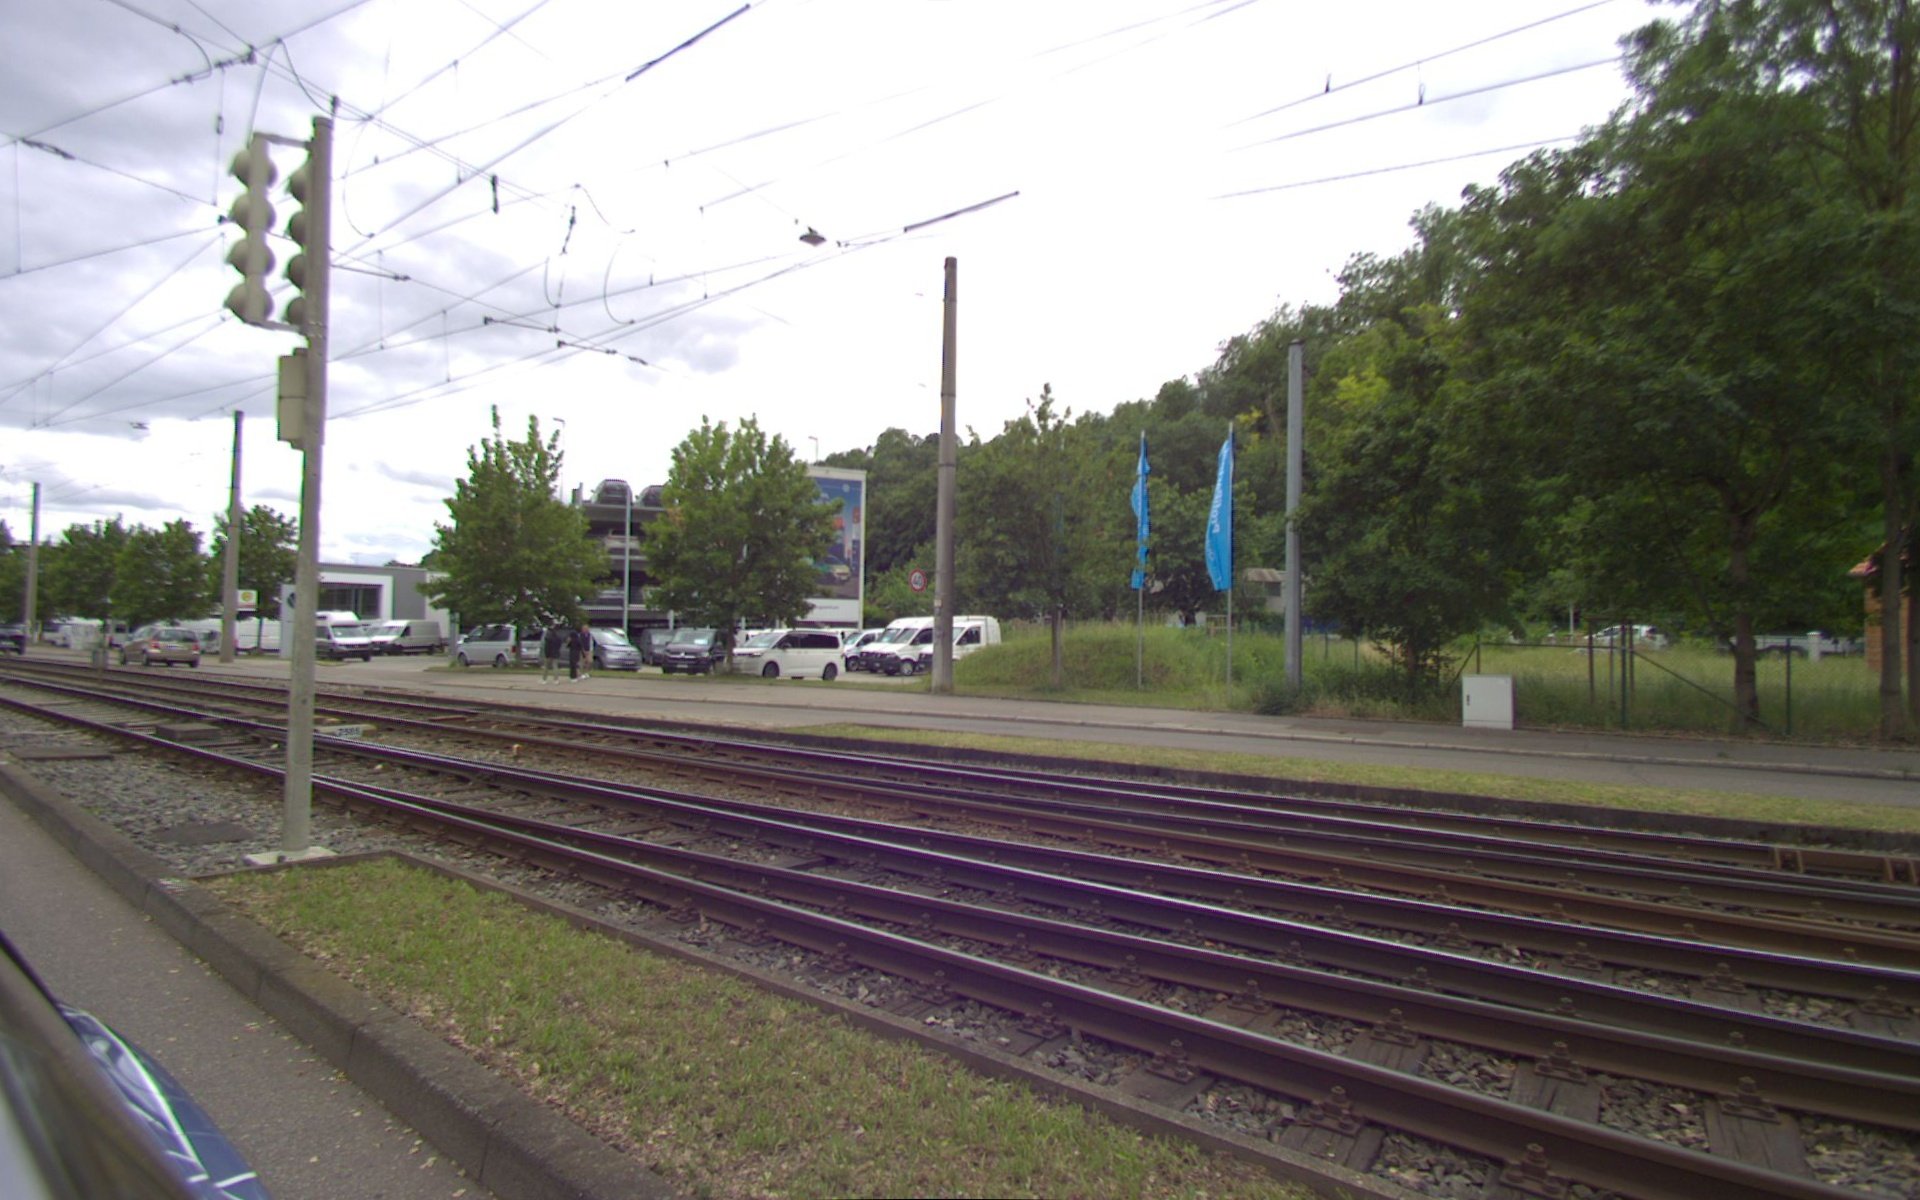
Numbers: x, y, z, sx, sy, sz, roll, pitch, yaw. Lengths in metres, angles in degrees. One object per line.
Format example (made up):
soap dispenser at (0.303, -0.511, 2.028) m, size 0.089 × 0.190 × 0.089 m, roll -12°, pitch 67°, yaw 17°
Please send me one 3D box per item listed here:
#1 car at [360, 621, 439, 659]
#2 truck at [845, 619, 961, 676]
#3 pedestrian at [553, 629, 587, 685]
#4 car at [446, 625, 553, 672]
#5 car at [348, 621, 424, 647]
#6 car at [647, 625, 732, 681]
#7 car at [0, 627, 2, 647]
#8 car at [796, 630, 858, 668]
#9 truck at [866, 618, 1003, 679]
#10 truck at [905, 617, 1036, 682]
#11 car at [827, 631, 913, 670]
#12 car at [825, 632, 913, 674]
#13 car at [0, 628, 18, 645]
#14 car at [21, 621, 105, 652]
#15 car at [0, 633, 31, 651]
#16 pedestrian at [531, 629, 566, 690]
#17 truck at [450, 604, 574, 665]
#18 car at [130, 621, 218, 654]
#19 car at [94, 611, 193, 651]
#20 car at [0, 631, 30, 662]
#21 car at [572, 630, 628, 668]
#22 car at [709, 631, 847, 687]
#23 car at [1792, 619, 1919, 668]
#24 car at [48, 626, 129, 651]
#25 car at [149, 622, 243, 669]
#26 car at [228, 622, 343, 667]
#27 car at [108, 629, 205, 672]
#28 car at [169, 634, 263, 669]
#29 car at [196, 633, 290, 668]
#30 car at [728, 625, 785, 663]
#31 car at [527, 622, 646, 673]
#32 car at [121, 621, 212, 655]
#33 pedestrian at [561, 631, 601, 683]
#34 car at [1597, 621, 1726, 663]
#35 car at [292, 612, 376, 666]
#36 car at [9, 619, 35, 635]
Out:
car at (-40.129, 2.889, 72.647) m, size 1.979 × 2.622 × 5.943 m, roll 0°, pitch -2°, yaw 5°
truck at (-2.722, 2.291, 48.487) m, size 4.985 × 2.608 × 2.476 m, roll 2°, pitch -3°, yaw -31°
pedestrian at (-12.291, 1.798, 31.900) m, size 0.854 × 1.726 × 0.622 m, roll -2°, pitch -1°, yaw 37°
car at (-20.707, 2.144, 45.449) m, size 4.904 × 2.029 × 1.978 m, roll -1°, pitch -3°, yaw 33°
car at (-45.240, 2.695, 79.916) m, size 1.996 × 2.029 × 4.799 m, roll -1°, pitch -3°, yaw 36°
car at (-10.516, 2.043, 39.737) m, size 2.135 × 2.029 × 5.075 m, roll 1°, pitch -2°, yaw -2°
car at (-98.473, 3.582, 99.770) m, size 5.622 × 2.023 × 2.148 m, roll 3°, pitch -3°, yaw -38°
car at (-7.393, 2.708, 56.706) m, size 1.981 × 2.029 × 4.257 m, roll -2°, pitch -2°, yaw 15°
truck at (-1.115, 2.197, 45.591) m, size 5.679 × 2.608 × 2.476 m, roll 2°, pitch -3°, yaw -29°
truck at (0.449, 2.104, 42.913) m, size 4.984 × 2.608 × 2.476 m, roll 2°, pitch -3°, yaw -24°
car at (-4.787, 2.697, 54.063) m, size 4.198 × 2.029 × 1.985 m, roll 2°, pitch -3°, yaw -39°
car at (-4.538, 2.623, 50.613) m, size 3.936 × 2.029 × 2.004 m, roll 1°, pitch -3°, yaw -39°
car at (-89.729, 3.360, 93.105) m, size 2.058 × 1.630 × 4.141 m, roll -1°, pitch -3°, yaw 36°
car at (-69.243, 2.803, 78.198) m, size 2.120 × 2.329 × 4.457 m, roll -1°, pitch -3°, yaw 35°
car at (-84.480, 3.684, 88.889) m, size 1.996 × 1.630 × 3.951 m, roll -1°, pitch -3°, yaw 36°
pedestrian at (-12.712, 1.828, 31.272) m, size 0.854 × 1.827 × 0.670 m, roll -2°, pitch -1°, yaw 37°
truck at (-23.679, 1.854, 53.555) m, size 5.835 × 3.108 × 2.126 m, roll 2°, pitch -3°, yaw -26°
car at (-54.541, 2.592, 70.290) m, size 1.996 × 2.189 × 4.334 m, roll -1°, pitch -3°, yaw 30°
car at (-57.201, 2.193, 70.989) m, size 2.107 × 2.719 × 4.930 m, roll -1°, pitch -3°, yaw 30°
car at (-50.465, 2.424, 52.972) m, size 4.245 × 1.544 × 1.672 m, roll -1°, pitch -6°, yaw 35°
car at (-18.582, 2.505, 52.136) m, size 1.965 × 1.845 × 4.481 m, roll 2°, pitch -3°, yaw -29°
car at (-6.620, 2.120, 37.361) m, size 2.160 × 1.902 × 5.014 m, roll -1°, pitch -3°, yaw 34°
car at (33.090, 1.551, 36.728) m, size 1.965 × 1.674 × 4.012 m, roll 1°, pitch -2°, yaw -20°
car at (-66.837, 2.972, 77.685) m, size 1.999 × 1.859 × 4.327 m, roll -1°, pitch -3°, yaw 35°
car at (-48.847, 2.904, 64.814) m, size 1.996 × 2.841 × 4.334 m, roll -1°, pitch -3°, yaw 30°
car at (-41.367, 2.703, 62.209) m, size 2.241 × 2.622 × 5.427 m, roll -1°, pitch -3°, yaw 34°
car at (-31.804, 2.002, 40.026) m, size 4.247 × 1.544 × 1.873 m, roll -1°, pitch -6°, yaw 36°
car at (-46.929, 3.219, 63.919) m, size 1.996 × 2.121 × 4.334 m, roll -1°, pitch -3°, yaw 30°
car at (-44.464, 3.118, 62.840) m, size 1.996 × 2.121 × 4.334 m, roll -1°, pitch -3°, yaw 30°
car at (-11.192, 2.411, 55.415) m, size 1.965 × 2.028 × 4.482 m, roll 2°, pitch -3°, yaw -26°
car at (-15.559, 1.955, 42.092) m, size 5.114 × 2.029 × 1.977 m, roll -1°, pitch -3°, yaw 33°
car at (-53.074, 2.525, 67.770) m, size 1.996 × 2.189 × 4.334 m, roll -1°, pitch -3°, yaw 30°
pedestrian at (-12.534, 1.866, 33.512) m, size 1.037 × 1.668 × 0.714 m, roll -1°, pitch -1°, yaw 27°
car at (29.282, 1.729, 42.375) m, size 1.965 × 1.674 × 4.012 m, roll 1°, pitch -2°, yaw -20°
car at (-36.817, 2.287, 59.454) m, size 5.926 × 3.042 × 2.088 m, roll -1°, pitch -3°, yaw 37°
car at (-123.873, 3.586, 133.693) m, size 1.967 × 2.029 × 4.009 m, roll 2°, pitch -3°, yaw -36°
